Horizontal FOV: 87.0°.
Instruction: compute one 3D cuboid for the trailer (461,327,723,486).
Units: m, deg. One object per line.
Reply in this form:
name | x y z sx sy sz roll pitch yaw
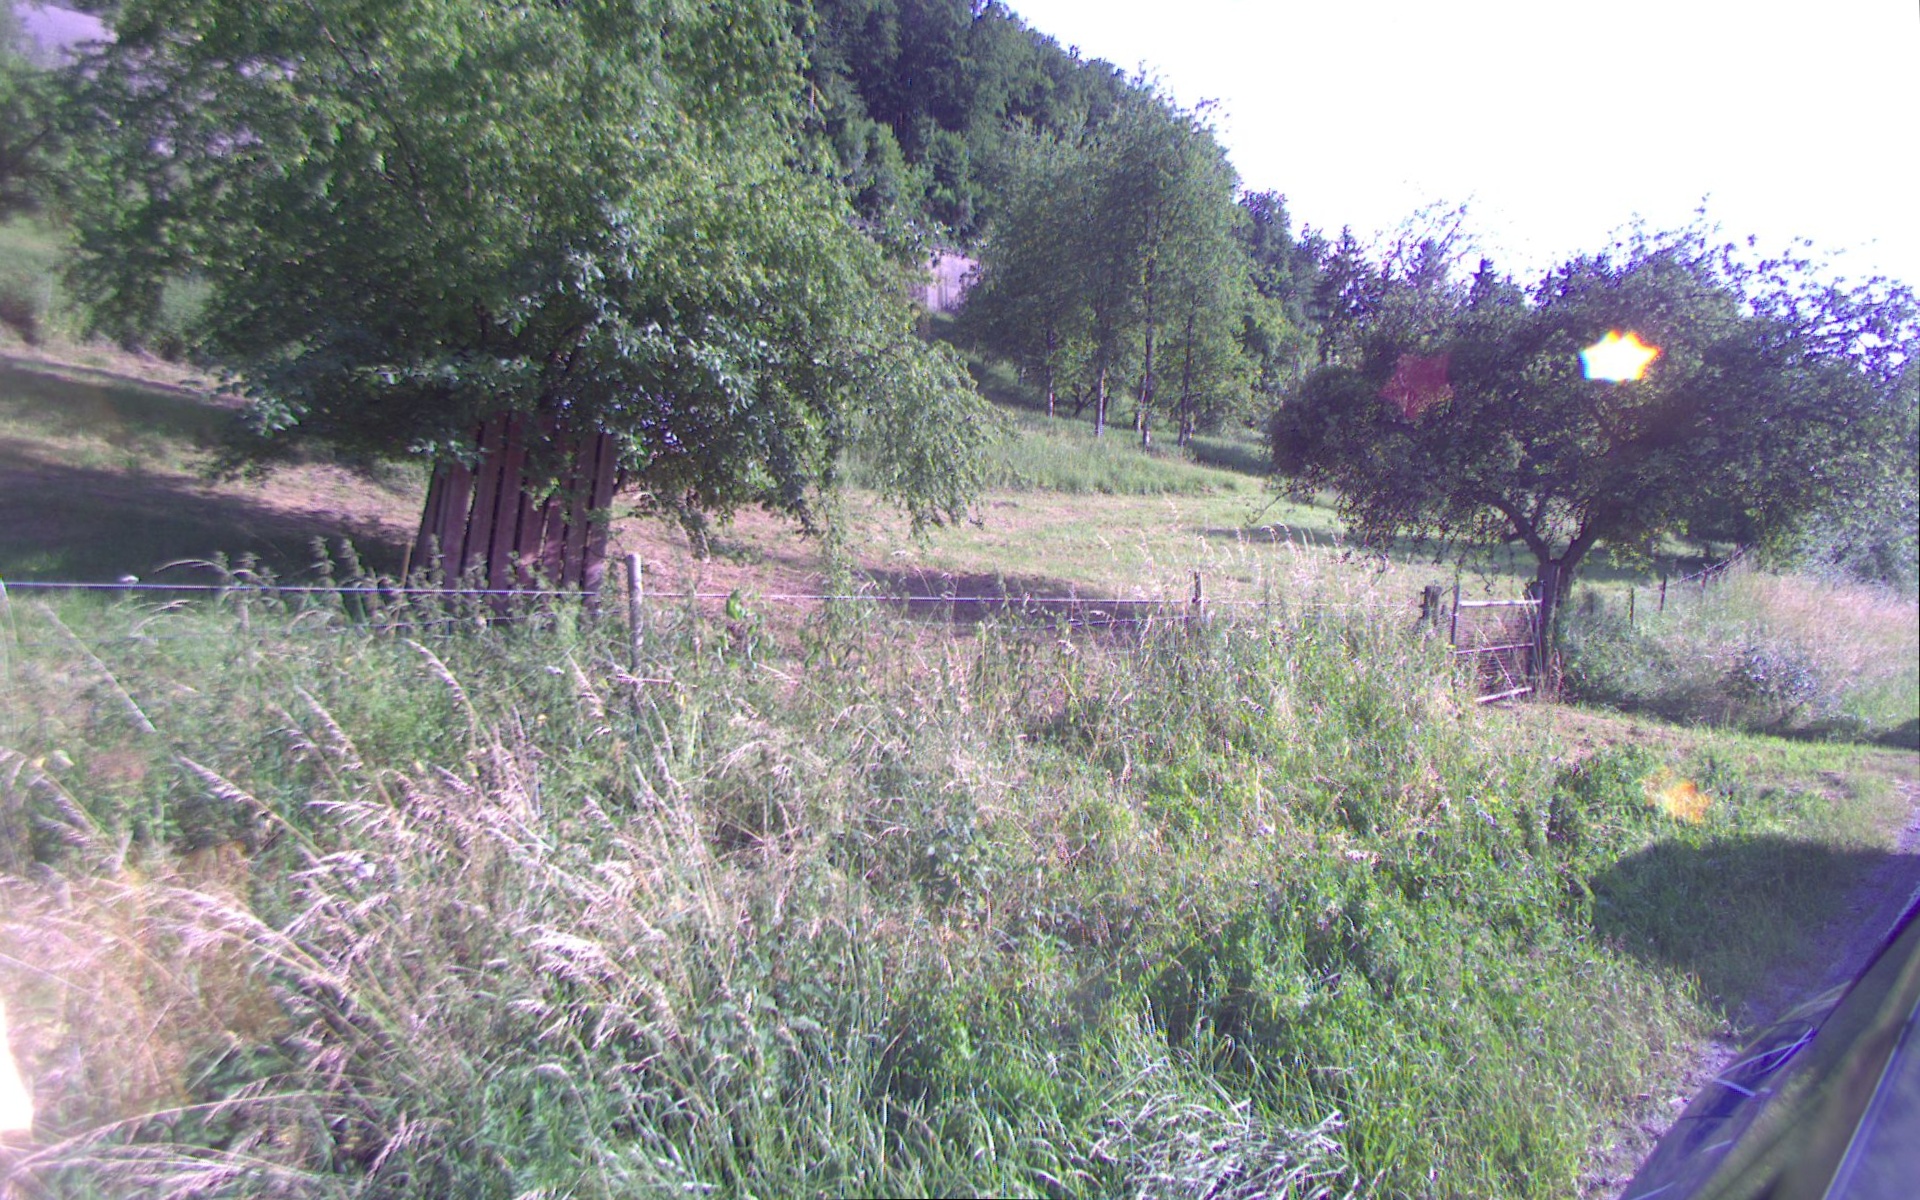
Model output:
trailer | -8.384 -4.271 23.436 5.159 2.590 2.155 4 0 -44
